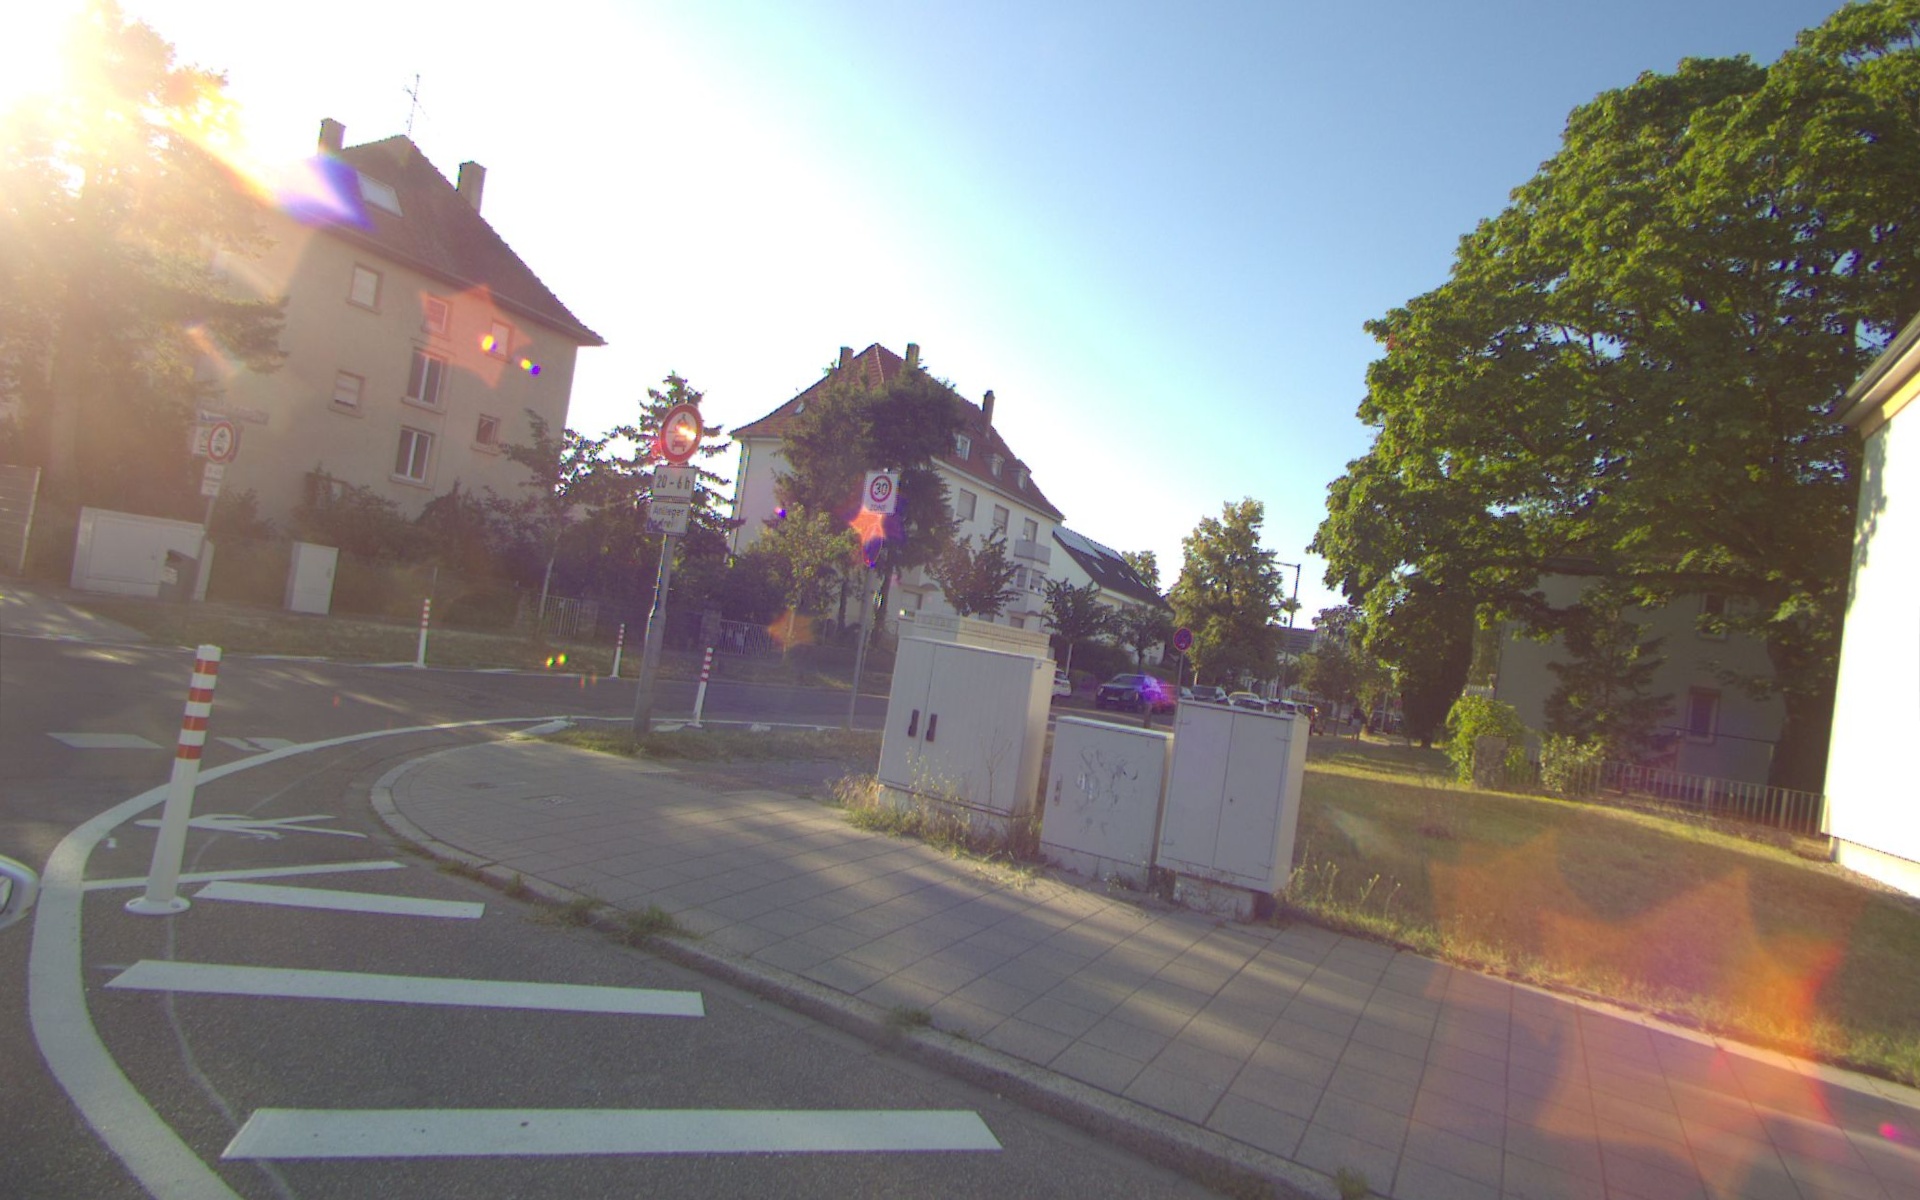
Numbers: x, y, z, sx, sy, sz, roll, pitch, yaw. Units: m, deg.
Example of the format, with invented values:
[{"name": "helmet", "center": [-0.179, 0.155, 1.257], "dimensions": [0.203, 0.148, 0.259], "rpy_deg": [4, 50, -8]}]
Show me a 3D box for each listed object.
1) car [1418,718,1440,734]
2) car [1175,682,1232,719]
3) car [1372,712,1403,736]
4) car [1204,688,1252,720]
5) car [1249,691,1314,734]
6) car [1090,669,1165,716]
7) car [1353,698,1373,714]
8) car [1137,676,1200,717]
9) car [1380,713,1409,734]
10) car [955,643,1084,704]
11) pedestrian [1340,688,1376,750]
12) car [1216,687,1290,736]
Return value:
[{"name": "car", "center": [56.161, 15.083, 120.362], "dimensions": [1.938, 1.631, 4.246], "rpy_deg": [7, -3, 29]}, {"name": "car", "center": [13.054, 5.413, 53.822], "dimensions": [1.937, 1.631, 4.249], "rpy_deg": [7, -3, 26]}, {"name": "car", "center": [34.502, 9.998, 81.114], "dimensions": [1.937, 1.631, 4.249], "rpy_deg": [7, -3, 26]}, {"name": "car", "center": [16.679, 6.456, 62.445], "dimensions": [1.937, 1.631, 4.249], "rpy_deg": [7, -3, 26]}, {"name": "car", "center": [15.008, 5.249, 46.796], "dimensions": [1.938, 1.631, 4.246], "rpy_deg": [7, -3, 29]}, {"name": "car", "center": [7.347, 4.048, 43.669], "dimensions": [1.937, 1.631, 4.249], "rpy_deg": [7, -3, 26]}, {"name": "car", "center": [52.376, 13.784, 130.795], "dimensions": [1.937, 1.794, 4.249], "rpy_deg": [7, -3, 26]}, {"name": "car", "center": [10.290, 4.763, 49.413], "dimensions": [1.937, 1.631, 4.249], "rpy_deg": [7, -3, 26]}, {"name": "car", "center": [40.034, 11.410, 92.726], "dimensions": [1.938, 1.631, 4.246], "rpy_deg": [7, -3, 29]}, {"name": "car", "center": [2.448, 3.025, 41.556], "dimensions": [4.754, 1.632, 1.972], "rpy_deg": [8, -2, 28]}, {"name": "pedestrian", "center": [14.240, 4.252, 35.970], "dimensions": [0.883, 2.036, 0.692], "rpy_deg": [7, -2, 30]}, {"name": "car", "center": [12.213, 4.656, 41.804], "dimensions": [1.938, 1.631, 4.246], "rpy_deg": [7, -3, 29]}]
